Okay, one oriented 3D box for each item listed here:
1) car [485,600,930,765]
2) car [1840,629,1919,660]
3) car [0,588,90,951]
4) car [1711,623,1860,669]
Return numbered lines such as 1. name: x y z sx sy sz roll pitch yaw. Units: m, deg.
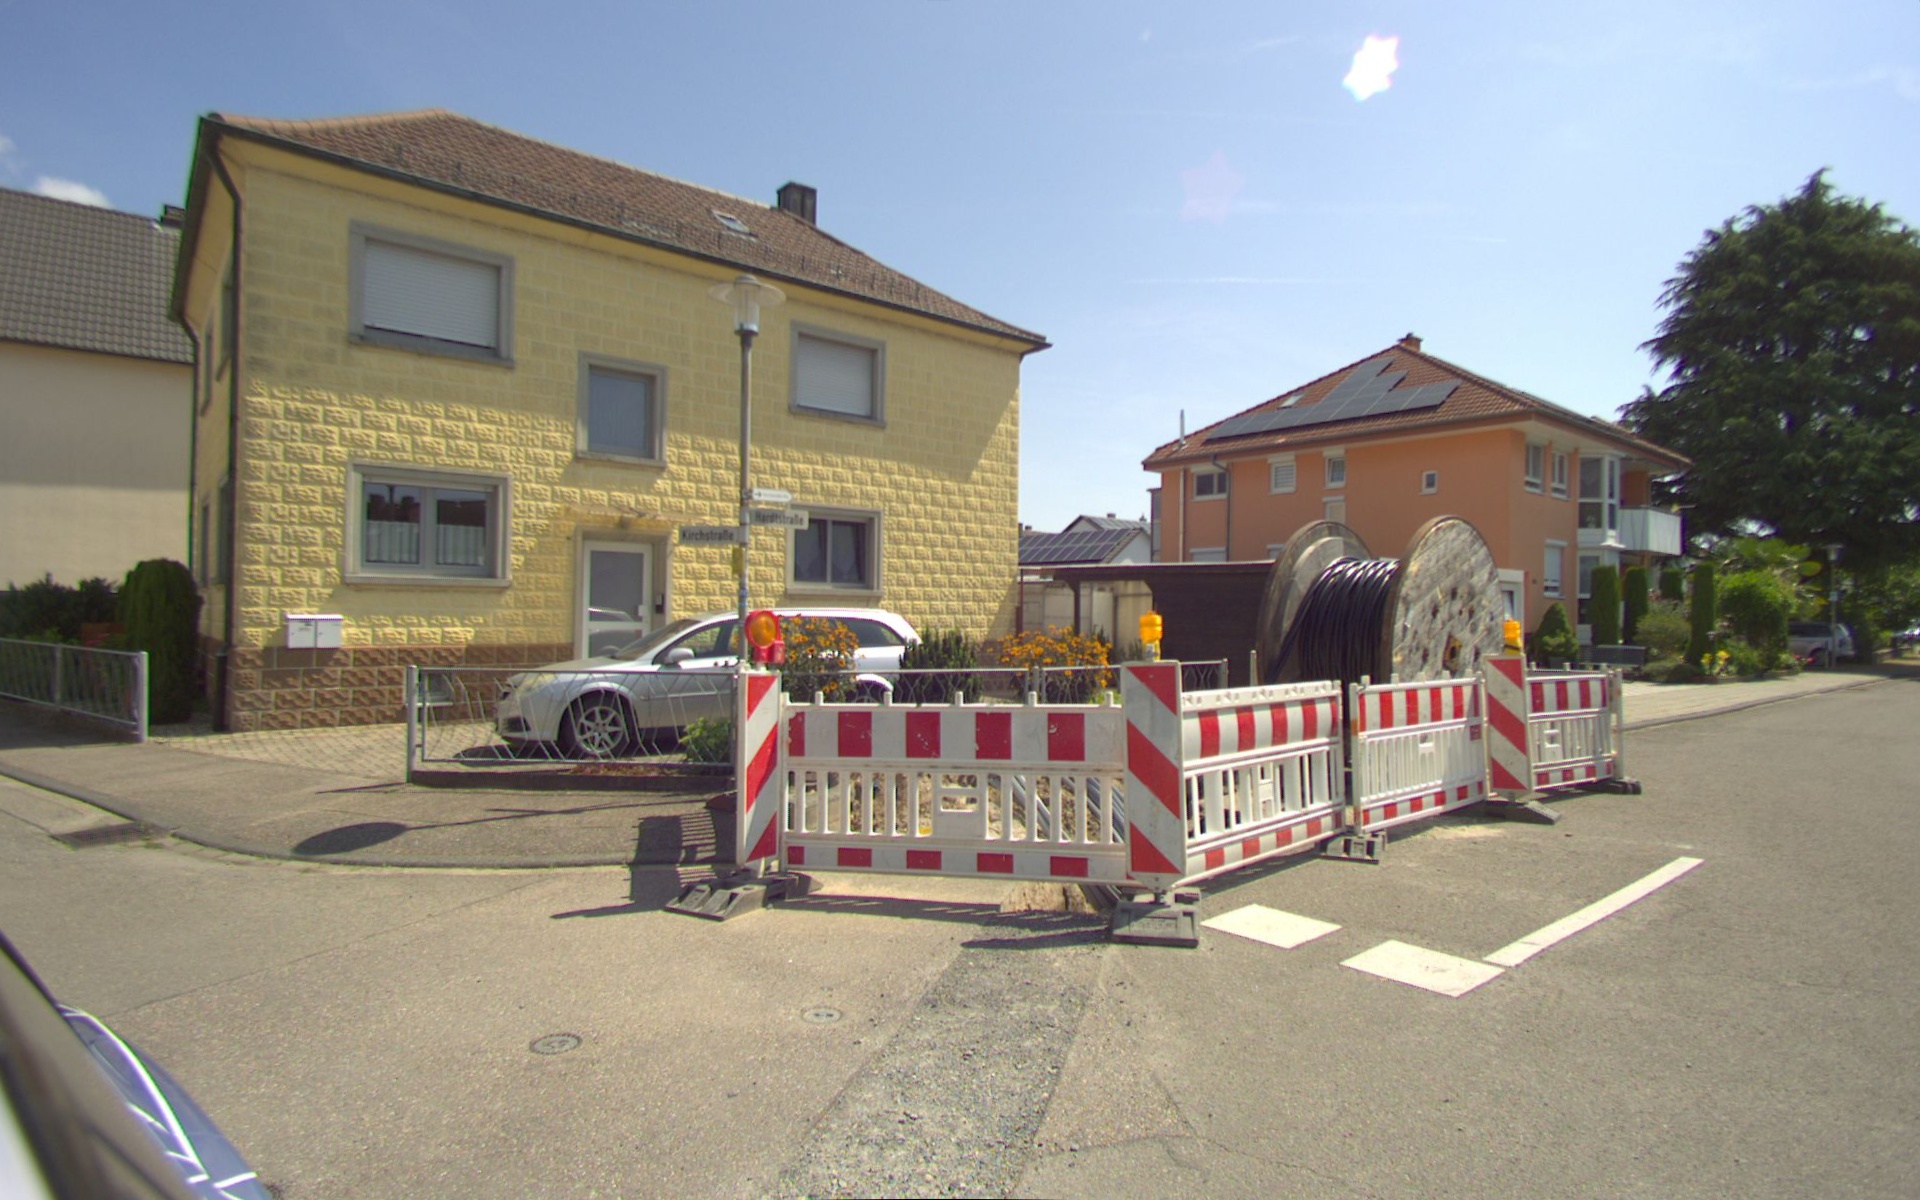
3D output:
1. car: -2.707 0.802 11.068 4.396 1.496 1.798 1 -1 -28
2. car: 53.968 2.564 58.635 1.784 1.665 4.215 1 -1 -38
3. car: -6.431 0.719 5.077 4.695 1.547 1.766 -2 -7 33
4. car: 32.084 1.738 39.431 1.784 1.665 4.215 1 -1 -38
